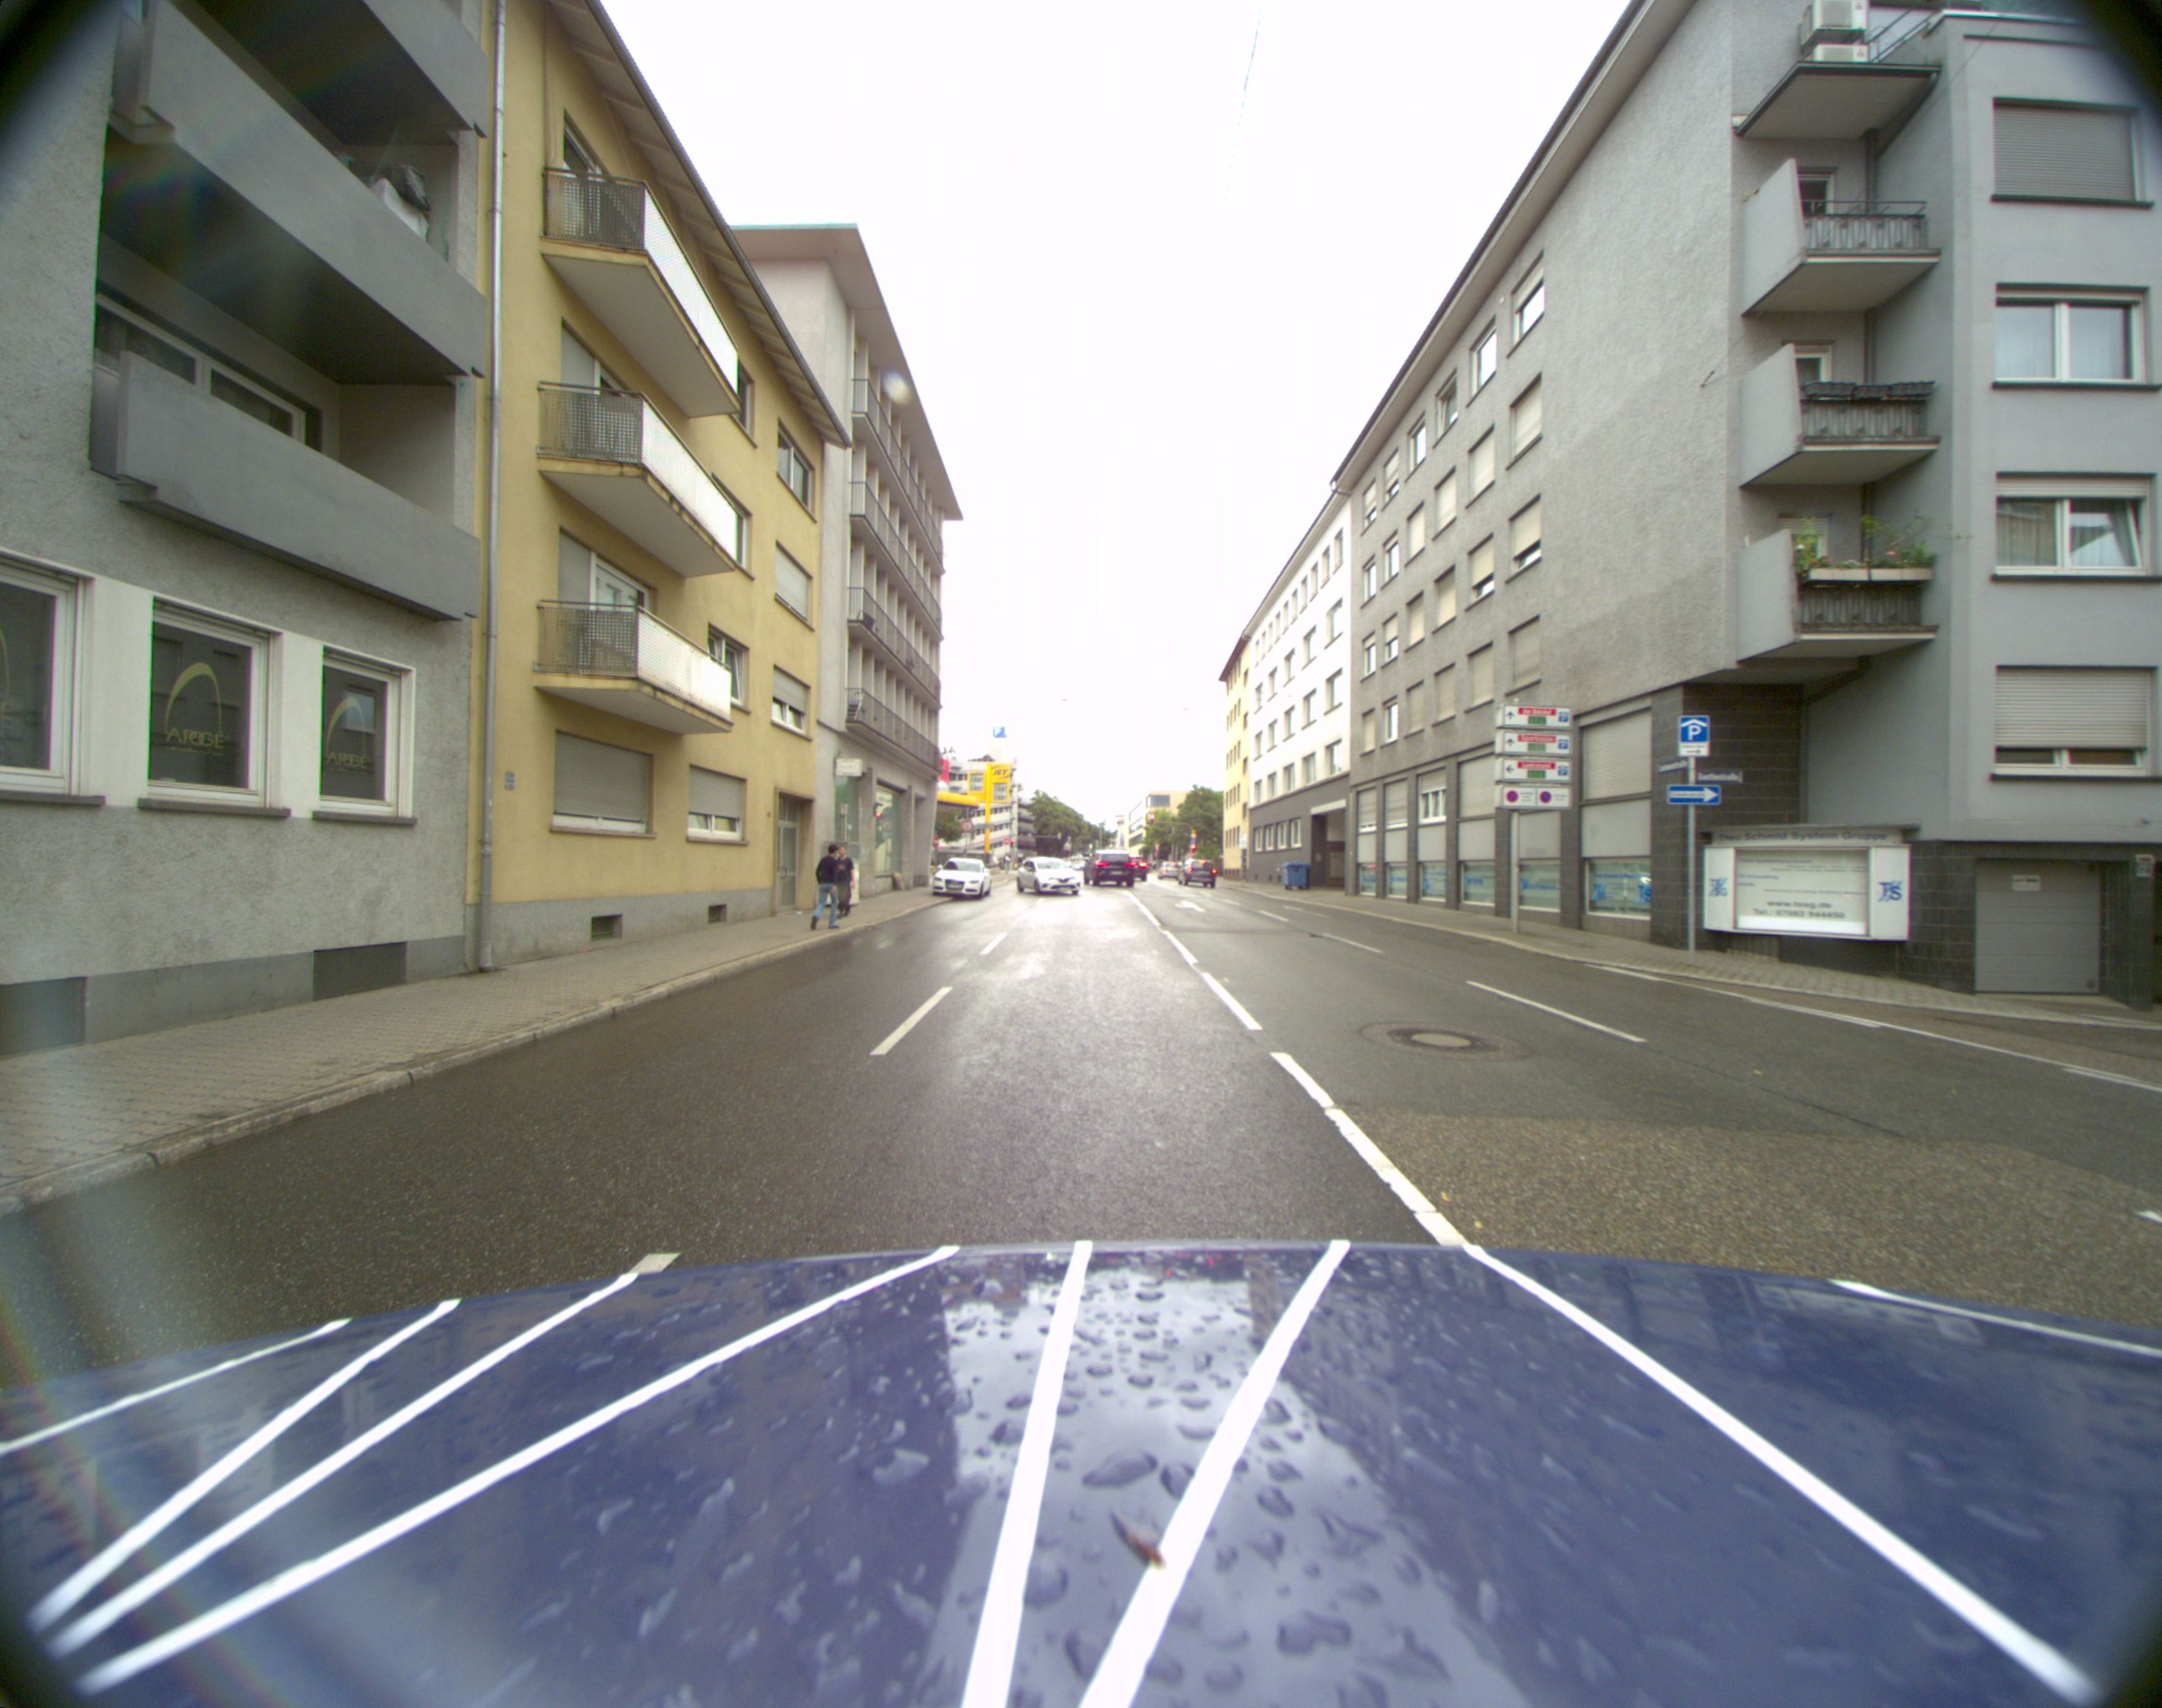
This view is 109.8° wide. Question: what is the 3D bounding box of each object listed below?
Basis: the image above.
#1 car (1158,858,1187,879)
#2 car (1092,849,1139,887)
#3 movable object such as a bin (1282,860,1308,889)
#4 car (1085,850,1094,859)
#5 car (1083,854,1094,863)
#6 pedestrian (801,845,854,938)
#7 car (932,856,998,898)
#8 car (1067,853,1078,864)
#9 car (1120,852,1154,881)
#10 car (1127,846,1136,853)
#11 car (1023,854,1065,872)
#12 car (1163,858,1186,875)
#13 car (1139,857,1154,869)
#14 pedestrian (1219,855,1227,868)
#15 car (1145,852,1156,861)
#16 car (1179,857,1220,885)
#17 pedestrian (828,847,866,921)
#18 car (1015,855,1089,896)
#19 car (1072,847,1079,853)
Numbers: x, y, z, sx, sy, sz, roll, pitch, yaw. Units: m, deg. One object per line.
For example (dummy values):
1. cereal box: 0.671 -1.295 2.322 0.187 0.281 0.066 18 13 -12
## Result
1. car: 7.428 1.153 62.151 1.883 1.580 4.373 0 0 1
2. car: 1.649 0.645 37.940 2.132 1.711 4.817 2 0 0
3. movable object such as a bin: 10.371 0.992 36.824 0.946 1.325 1.096 -3 1 1
4. car: 2.095 0.021 178.758 1.998 2.002 3.999 -2 1 1
5. car: 1.460 0.937 153.297 1.999 1.736 3.998 -2 1 -2
6. pedestrian: -5.078 0.726 15.284 0.644 1.768 1.056 3 1 0
7. car: -4.360 0.834 29.088 1.803 1.427 4.166 1 0 1
8. car: -1.686 0.791 148.457 1.998 2.002 3.999 -2 1 0
9. car: 3.623 0.807 49.692 1.841 1.717 4.474 3 0 0
10. car: 12.878 -1.131 192.911 1.998 1.683 4.000 -2 1 2
11. car: -3.757 0.873 77.621 3.994 1.751 2.001 1 1 9
12. car: 9.887 1.290 80.472 1.998 1.672 4.000 1 0 1
13. car: 9.571 1.295 111.749 1.883 1.580 4.373 0 0 1
14. pedestrian: 13.057 0.671 69.846 0.582 1.143 0.407 3 1 2
15. car: 15.473 0.569 170.073 1.998 1.863 3.999 -2 1 0
16. car: 6.857 0.951 44.300 1.707 1.498 4.159 3 0 0
17. pedestrian: -5.661 0.707 18.438 0.679 1.745 0.888 1 1 -4
18. car: -1.266 0.845 31.167 1.774 1.465 3.993 -3 0 -22
19. car: -1.854 -1.376 257.748 1.998 1.827 3.999 -2 1 1
